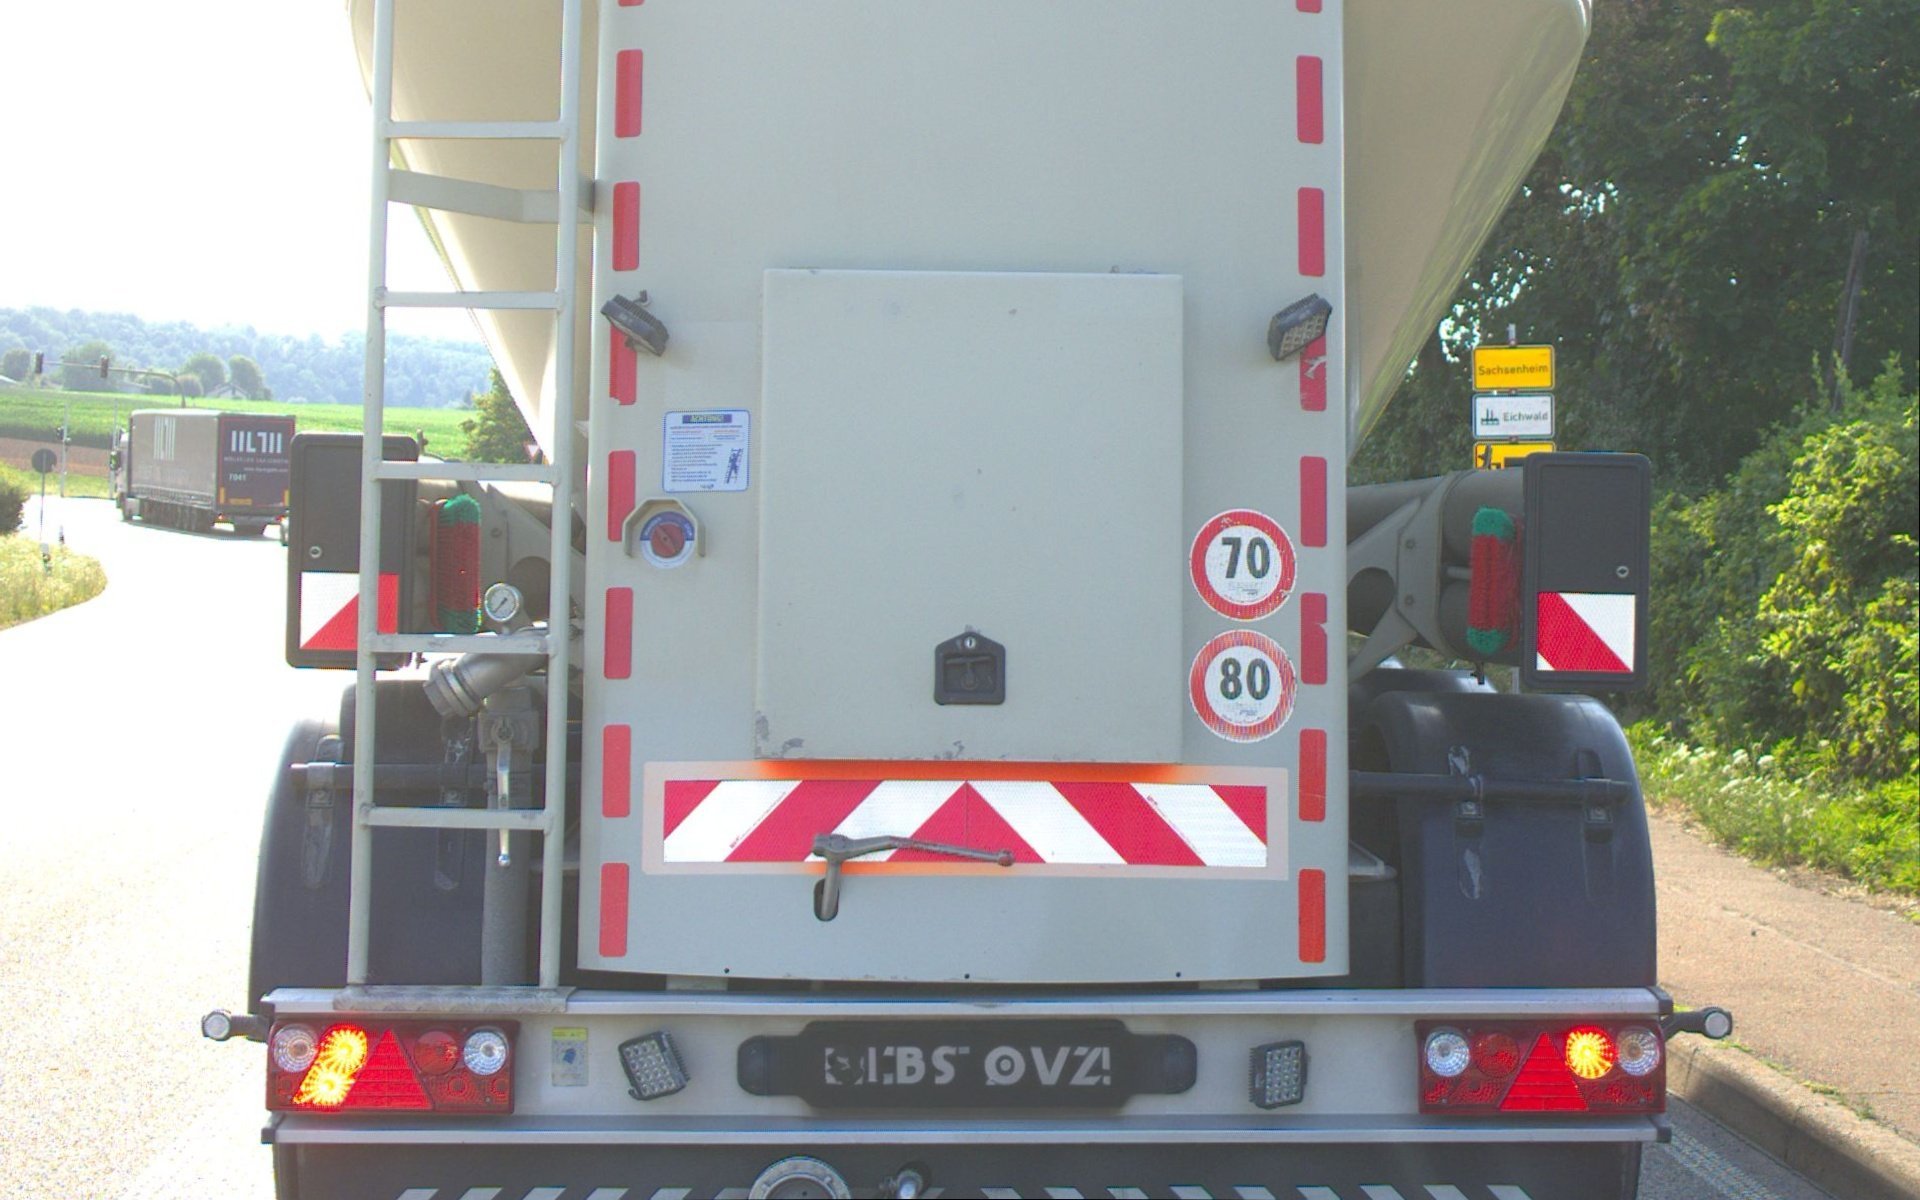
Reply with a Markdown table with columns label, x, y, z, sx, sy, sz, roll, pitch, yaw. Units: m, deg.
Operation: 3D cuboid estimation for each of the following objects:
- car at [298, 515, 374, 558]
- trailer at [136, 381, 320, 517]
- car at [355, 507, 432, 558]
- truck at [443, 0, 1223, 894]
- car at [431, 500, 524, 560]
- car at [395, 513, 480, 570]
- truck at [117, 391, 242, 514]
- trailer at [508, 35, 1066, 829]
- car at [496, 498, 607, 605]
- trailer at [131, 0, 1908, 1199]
| label | x | y | z | sx | sy | sz | roll | pitch | yaw |
| --- | --- | --- | --- | --- | --- | --- | --- | --- | --- |
| car | -18.532 | -1.891 | 102.065 | 1.769 | 1.201 | 3.427 | 1 | 1 | -18 |
| trailer | -25.610 | -5.191 | 119.547 | 3.375 | 4.335 | 14.298 | 2 | 1 | -24 |
| car | -15.798 | -1.901 | 95.826 | 1.580 | 1.336 | 3.427 | 2 | 1 | -18 |
| truck | -0.642 | -0.927 | 15.023 | 2.909 | 3.992 | 4.060 | 1 | 1 | -5 |
| car | -11.453 | -1.676 | 81.462 | 1.580 | 1.336 | 3.427 | 2 | 1 | -18 |
| car | -13.340 | -1.501 | 87.640 | 1.580 | 1.336 | 3.427 | 2 | 1 | -18 |
| truck | -28.874 | -5.423 | 127.079 | 3.375 | 4.335 | 5.707 | 2 | 1 | -24 |
| trailer | -1.016 | -1.076 | 26.182 | 2.955 | 4.300 | 14.176 | 2 | 1 | 0 |
| car | -8.005 | -0.964 | 67.145 | 1.861 | 2.007 | 3.720 | 1 | 1 | -11 |
| trailer | -0.272 | -0.726 | 10.591 | 2.909 | 3.992 | 9.932 | 1 | 1 | -5 |
